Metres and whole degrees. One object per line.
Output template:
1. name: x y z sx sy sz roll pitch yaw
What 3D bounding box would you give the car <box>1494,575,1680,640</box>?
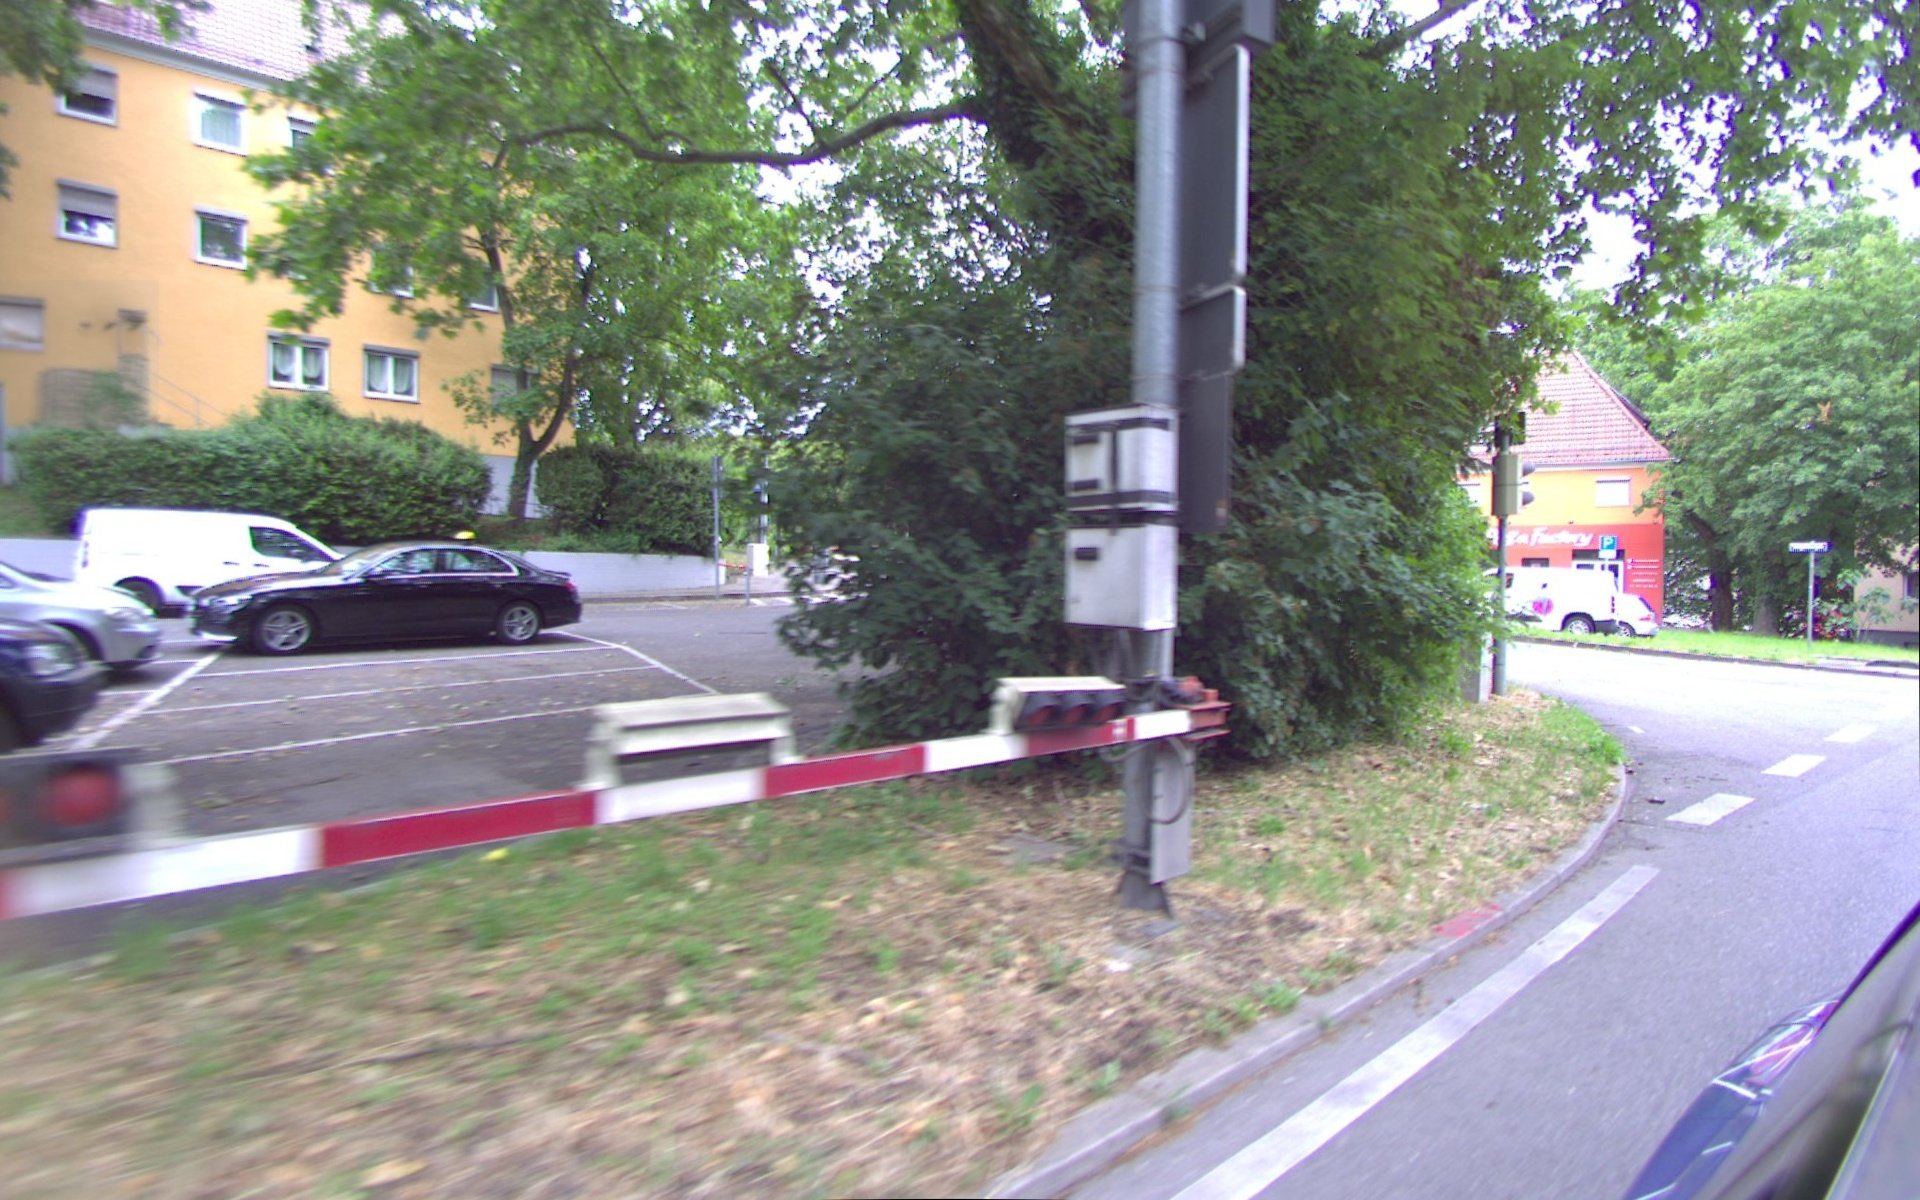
1. car: 17.655 0.192 28.622 4.120 1.446 1.833 5 1 44

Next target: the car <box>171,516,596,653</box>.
1. car: -7.884 -0.239 14.205 1.995 1.597 4.826 4 3 44

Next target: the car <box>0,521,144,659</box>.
1. car: -11.453 -0.139 10.835 1.733 1.445 4.066 5 5 43

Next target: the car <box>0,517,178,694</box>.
1. car: -9.860 0.011 9.336 4.061 1.588 1.735 -1 4 -43

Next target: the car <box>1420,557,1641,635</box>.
1. car: 14.685 -0.127 26.179 4.812 1.812 1.767 2 -2 35

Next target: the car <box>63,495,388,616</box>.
1. car: -13.025 -0.798 18.206 4.517 1.909 1.999 -1 3 -39

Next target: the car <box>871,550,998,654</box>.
1. car: -0.374 -0.082 19.798 1.831 1.502 4.423 5 5 6

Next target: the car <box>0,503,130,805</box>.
1. car: -7.178 0.297 4.764 1.807 1.685 4.816 4 4 39
